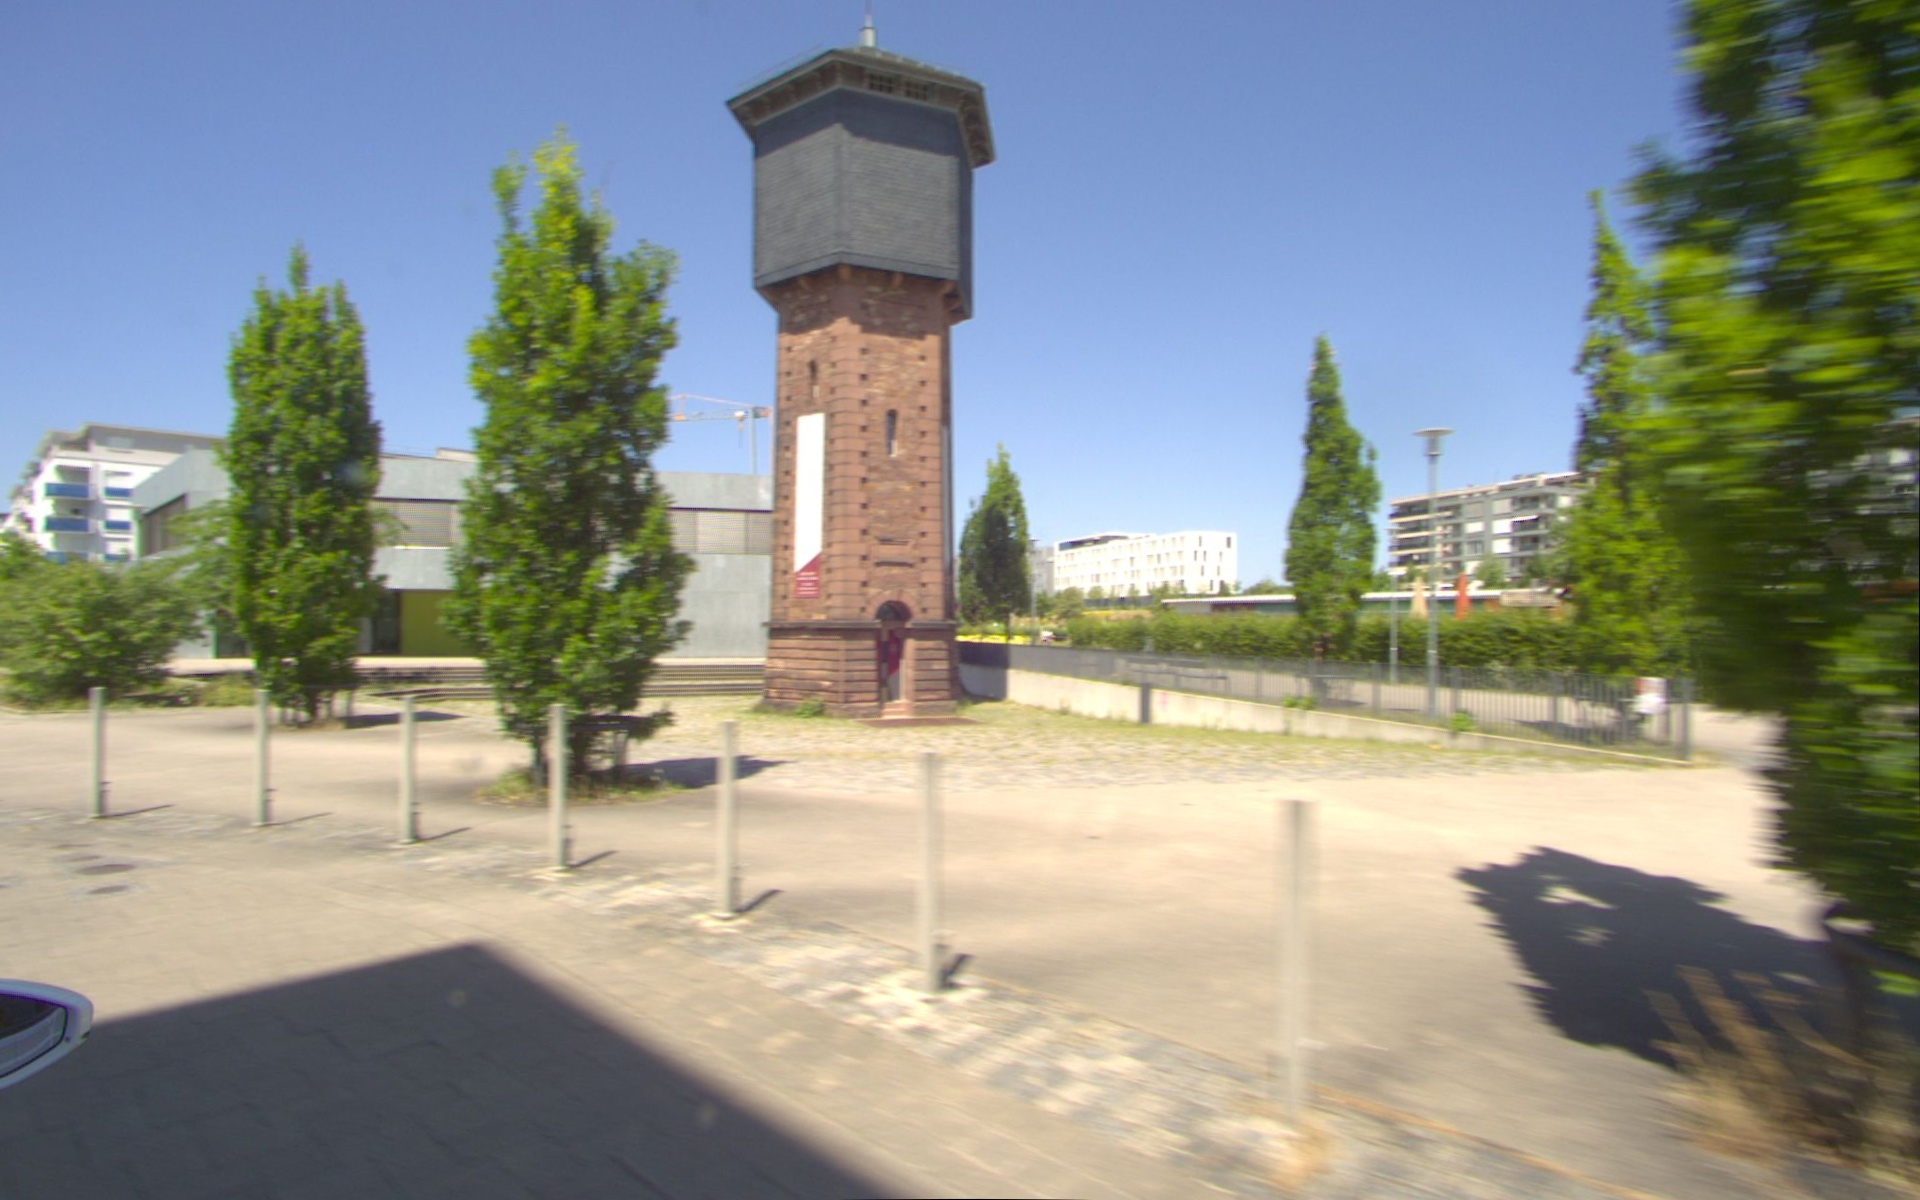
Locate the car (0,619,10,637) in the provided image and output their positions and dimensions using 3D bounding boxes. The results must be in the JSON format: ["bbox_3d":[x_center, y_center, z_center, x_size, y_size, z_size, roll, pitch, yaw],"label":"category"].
[{"bbox_3d":[-86.433,2.499,89.631,1.981,1.629,3.962,2,-3,-44],"label":"car"}]

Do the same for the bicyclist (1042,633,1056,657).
[{"bbox_3d":[5.338,2.721,60.220,0.719,1.453,0.660,1,-1,-8],"label":"bicyclist"}]

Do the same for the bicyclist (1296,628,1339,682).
[{"bbox_3d":[10.013,1.537,28.053,0.843,1.474,0.883,1,-2,-7],"label":"bicyclist"}]

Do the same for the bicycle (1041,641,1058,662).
[{"bbox_3d":[5.373,3.096,60.101,0.580,1.214,1.942,1,-2,-8],"label":"bicycle"}]

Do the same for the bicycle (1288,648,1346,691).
[{"bbox_3d":[9.997,1.936,28.123,0.784,1.132,1.915,1,-2,-7],"label":"bicycle"}]
